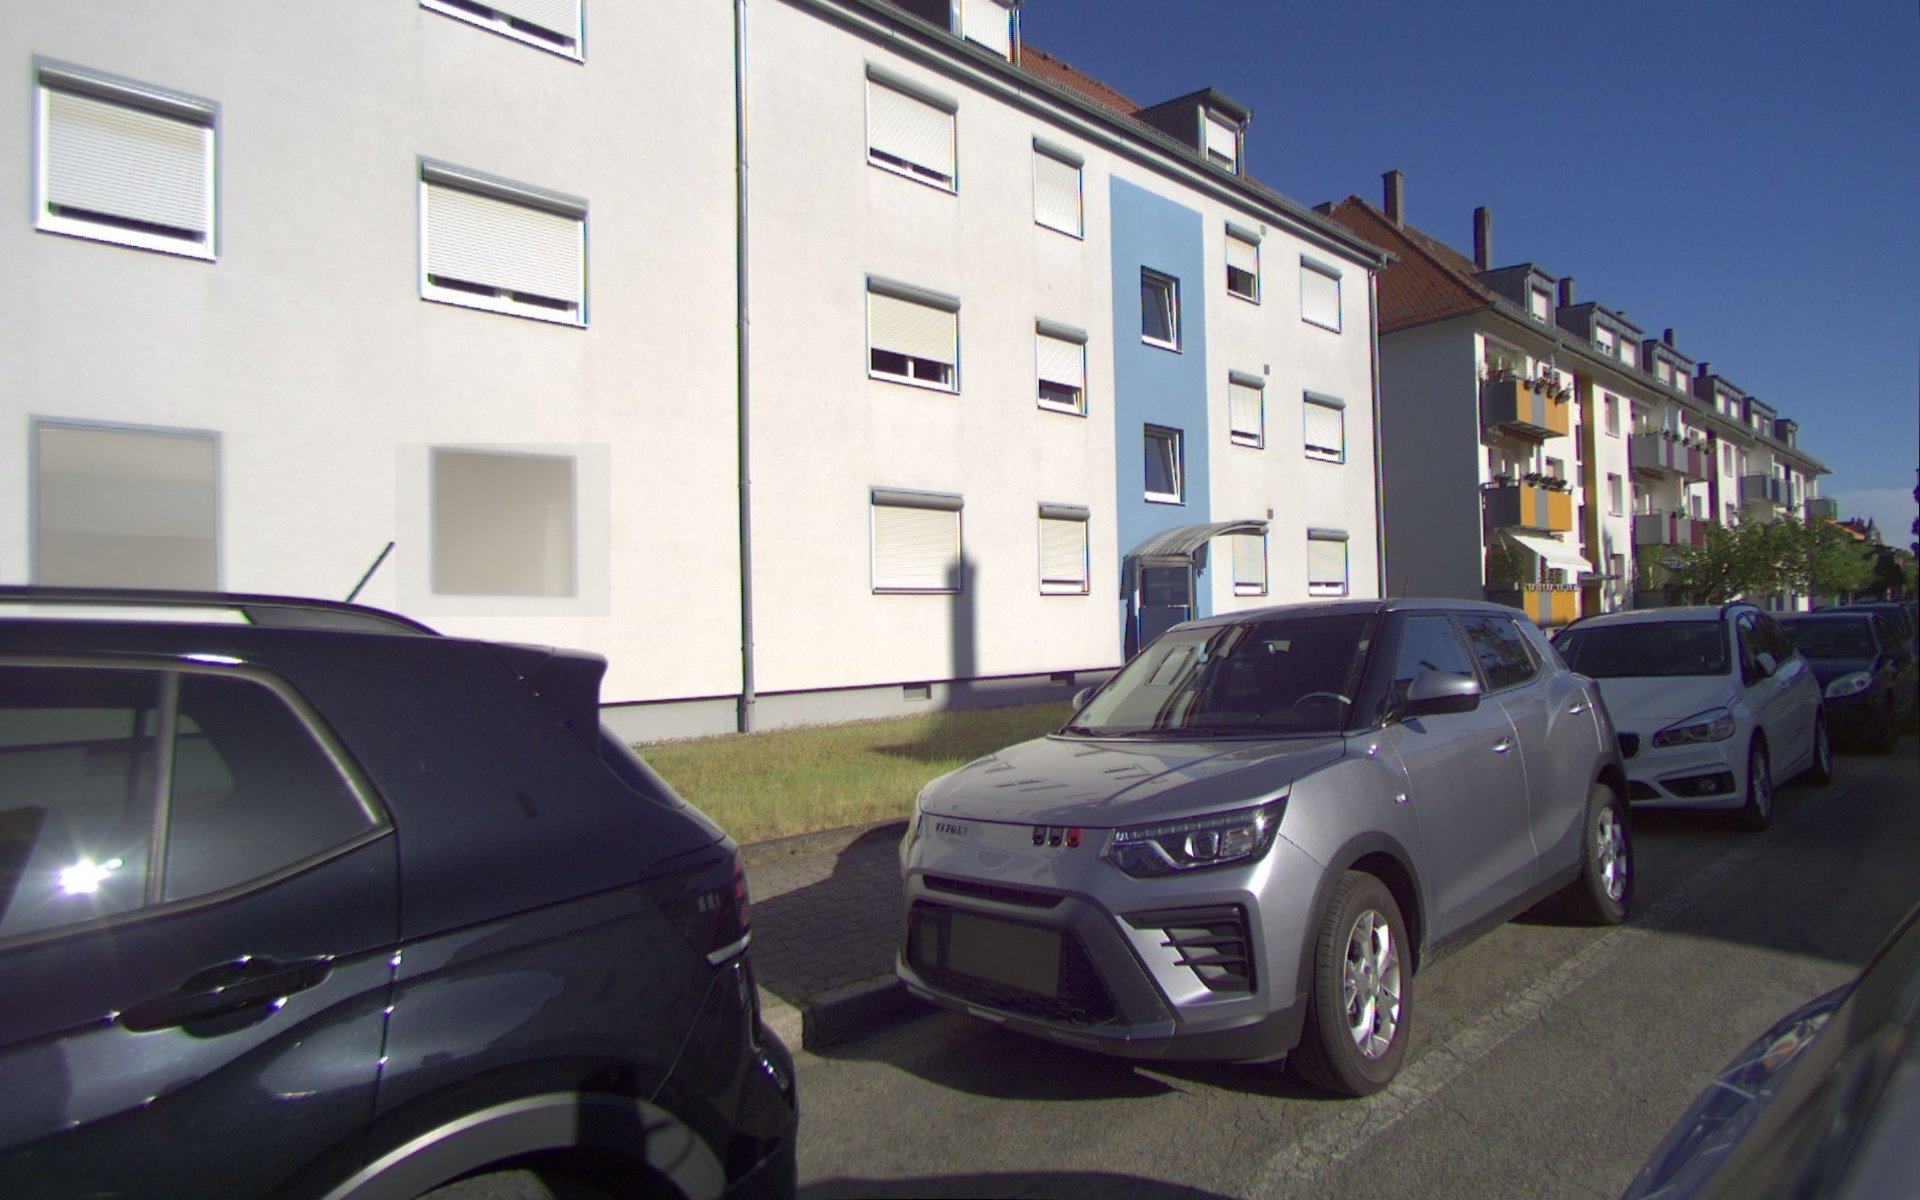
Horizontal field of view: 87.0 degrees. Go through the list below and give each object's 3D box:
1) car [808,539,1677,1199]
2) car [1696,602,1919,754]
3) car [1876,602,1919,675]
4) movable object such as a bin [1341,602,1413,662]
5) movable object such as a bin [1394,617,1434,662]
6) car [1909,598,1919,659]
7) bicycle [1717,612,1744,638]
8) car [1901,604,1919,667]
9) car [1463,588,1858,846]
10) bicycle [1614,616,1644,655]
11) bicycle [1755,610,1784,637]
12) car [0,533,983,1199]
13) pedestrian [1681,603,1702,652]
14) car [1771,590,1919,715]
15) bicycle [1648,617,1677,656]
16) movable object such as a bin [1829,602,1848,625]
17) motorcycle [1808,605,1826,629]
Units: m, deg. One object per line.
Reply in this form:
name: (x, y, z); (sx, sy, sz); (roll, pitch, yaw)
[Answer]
car: (1.638, 0.730, 4.619); (4.377, 1.639, 1.751); (0, -4, -43)
car: (10.374, 0.799, 12.067); (4.083, 1.518, 1.644); (0, -1, -40)
car: (21.473, 0.801, 22.182); (2.886, 1.549, 1.483); (0, -4, -37)
movable object such as a bin: (10.669, 0.793, 25.910); (1.087, 1.424, 1.330); (-2, 2, -40)
movable object such as a bin: (11.255, 0.970, 25.093); (0.744, 1.047, 0.644); (-2, 1, -40)
car: (28.531, 0.736, 28.436); (4.905, 1.634, 1.997); (0, -3, -39)
bicycle: (32.449, 1.039, 42.606); (1.940, 1.050, 0.521); (0, 0, -41)
car: (24.622, 0.816, 24.954); (3.916, 1.511, 1.695); (0, -3, -42)
car: (5.960, 0.764, 8.386); (4.359, 1.595, 1.692); (0, -3, -42)
bicycle: (20.199, 1.052, 30.534); (1.250, 1.147, 0.404); (0, -2, -41)
bicycle: (33.207, 0.965, 41.516); (2.248, 1.062, 0.521); (0, 1, -41)
car: (-2.139, 0.773, 1.205); (4.321, 1.616, 1.714); (0, -3, -42)
pedestrian: (23.014, 0.862, 31.836); (0.354, 1.514, 0.451); (-2, 0, -40)
car: (14.079, 0.736, 15.443); (4.389, 1.670, 1.786); (0, -3, -40)
bicycle: (20.621, 1.053, 29.704); (1.276, 1.100, 0.404); (0, -1, -41)
movable object such as a bin: (59.491, 0.880, 68.536); (0.906, 1.539, 0.865); (0, -1, -43)
motorcycle: (45.540, 0.902, 53.794); (1.942, 1.254, 0.442); (0, -1, -41)
